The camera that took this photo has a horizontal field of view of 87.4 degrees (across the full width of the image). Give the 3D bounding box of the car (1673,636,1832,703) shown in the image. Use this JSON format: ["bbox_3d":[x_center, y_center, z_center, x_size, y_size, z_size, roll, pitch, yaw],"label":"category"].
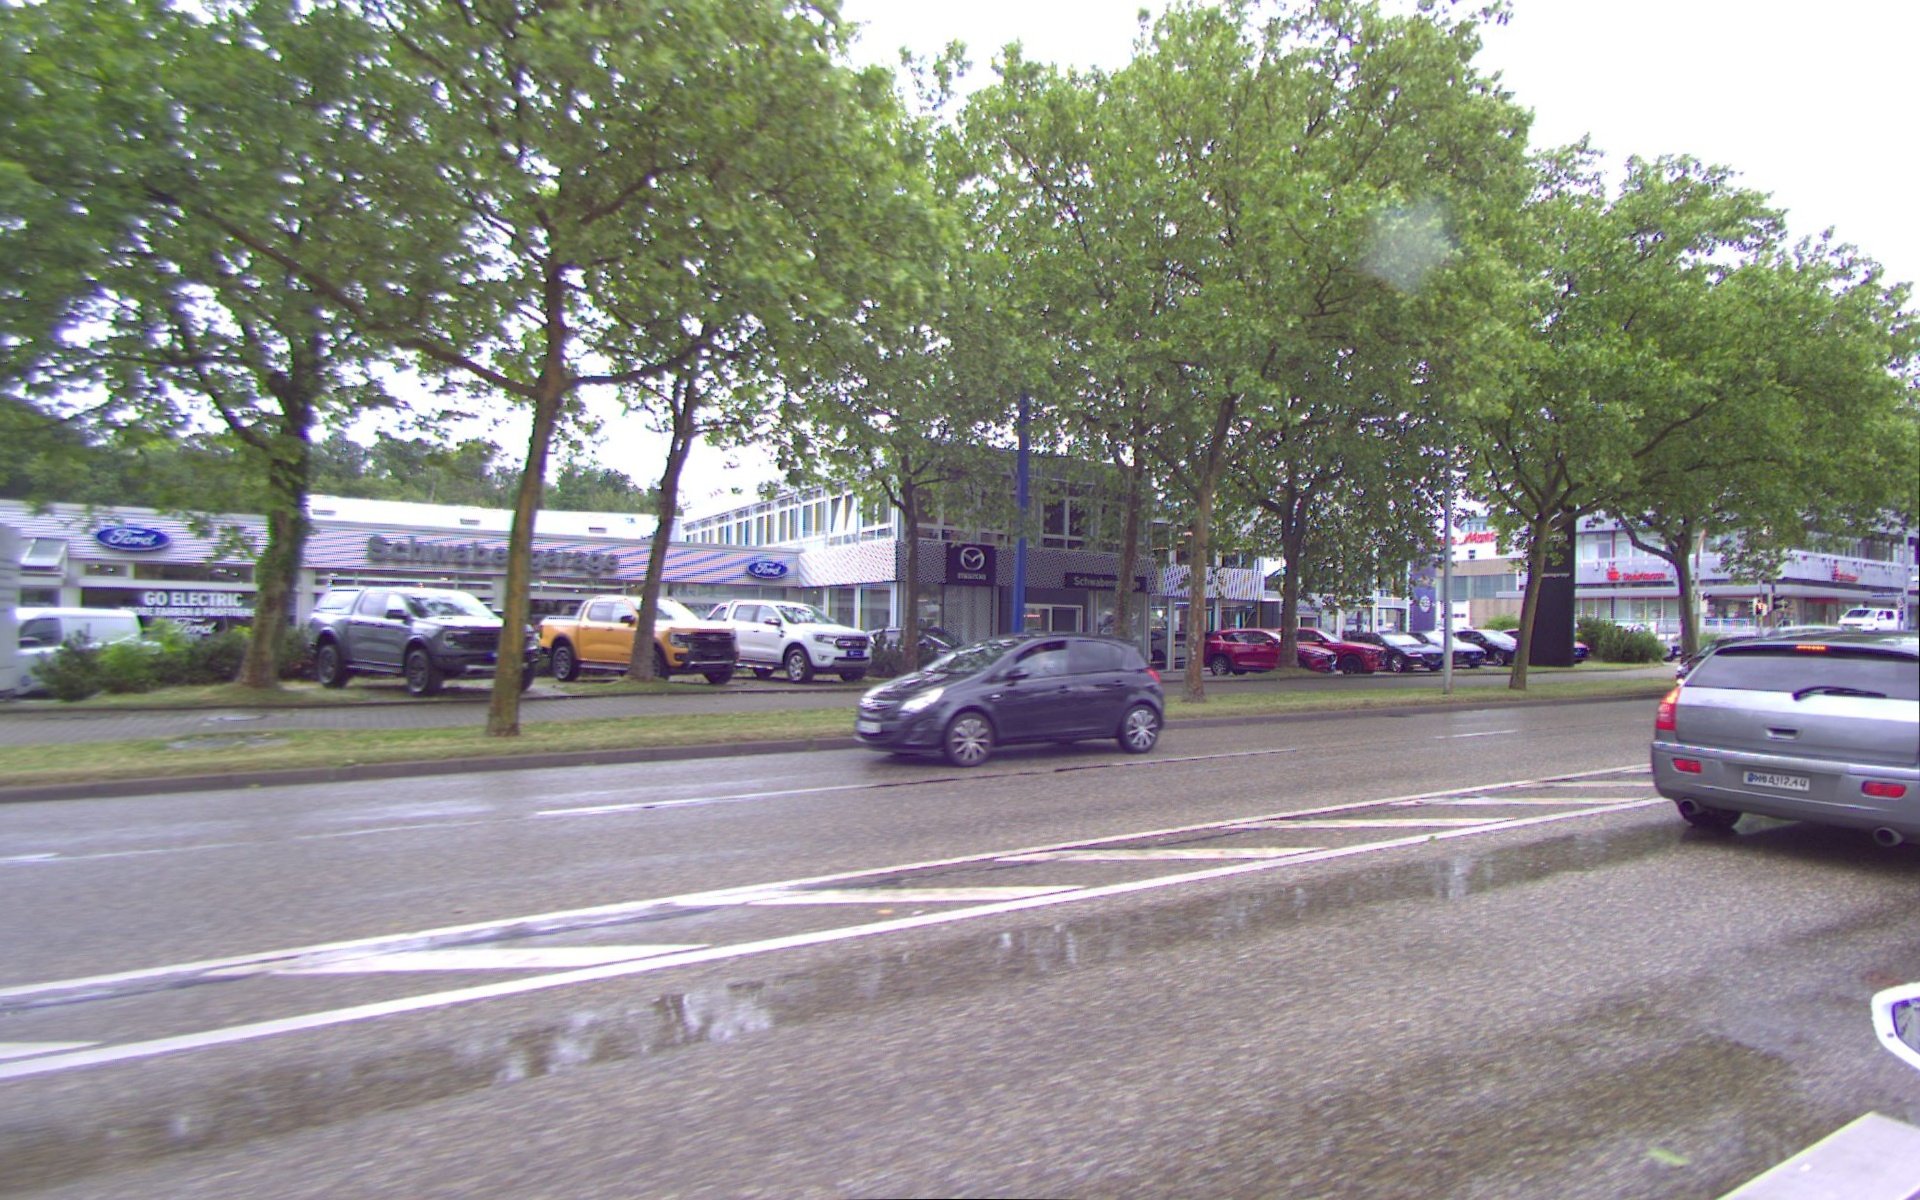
[{"bbox_3d":[18.852,1.604,23.866,4.040,1.484,1.701,2,-2,-32],"label":"car"}]

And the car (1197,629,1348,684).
[{"bbox_3d":[10.596,1.861,34.239,4.497,1.617,1.992,1,-1,38],"label":"car"}]

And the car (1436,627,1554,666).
[{"bbox_3d":[22.260,1.896,41.901,1.860,1.508,3.955,1,-2,-34],"label":"car"}]

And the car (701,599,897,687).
[{"bbox_3d":[-3.762,0.937,23.140,4.398,1.840,1.992,-1,-2,38],"label":"car"}]

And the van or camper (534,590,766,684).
[{"bbox_3d":[-6.835,0.808,21.857,5.291,1.792,2.097,-1,-5,38],"label":"van or camper"}]

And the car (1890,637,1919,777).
[{"bbox_3d":[12.289,1.108,10.859,4.499,1.448,1.985,1,-3,-30],"label":"car"}]

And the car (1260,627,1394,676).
[{"bbox_3d":[13.216,1.855,36.252,4.165,1.674,2.005,-2,-3,37],"label":"car"}]

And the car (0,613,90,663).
[{"bbox_3d":[-29.272,1.169,31.706,1.842,1.458,3.971,1,-2,-28],"label":"car"}]

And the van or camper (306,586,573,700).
[{"bbox_3d":[-9.779,0.748,18.723,5.212,1.845,2.259,0,-2,35],"label":"van or camper"}]

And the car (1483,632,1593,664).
[{"bbox_3d":[24.557,2.012,42.805,1.673,1.311,3.717,1,-2,-34],"label":"car"}]

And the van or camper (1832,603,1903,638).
[{"bbox_3d":[57.650,1.312,63.791,4.733,1.993,1.983,2,0,-31],"label":"van or camper"}]

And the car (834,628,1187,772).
[{"bbox_3d":[0.678,1.107,12.154,4.040,1.484,1.701,2,-2,-32],"label":"car"}]

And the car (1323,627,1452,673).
[{"bbox_3d":[16.194,1.885,38.138,4.165,1.617,1.993,-2,-3,37],"label":"car"}]

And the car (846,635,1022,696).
[{"bbox_3d":[-0.731,1.725,27.231,4.390,1.469,1.995,0,-2,32],"label":"car"}]

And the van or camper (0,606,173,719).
[{"bbox_3d":[-16.424,1.029,17.642,1.804,1.808,4.644,1,-1,-5],"label":"van or camper"}]

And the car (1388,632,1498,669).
[{"bbox_3d":[19.525,2.001,40.765,1.673,1.409,3.717,1,-2,-34],"label":"car"}]

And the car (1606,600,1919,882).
[{"bbox_3d":[7.167,0.876,7.575,4.823,1.599,1.898,2,-2,-30],"label":"car"}]
